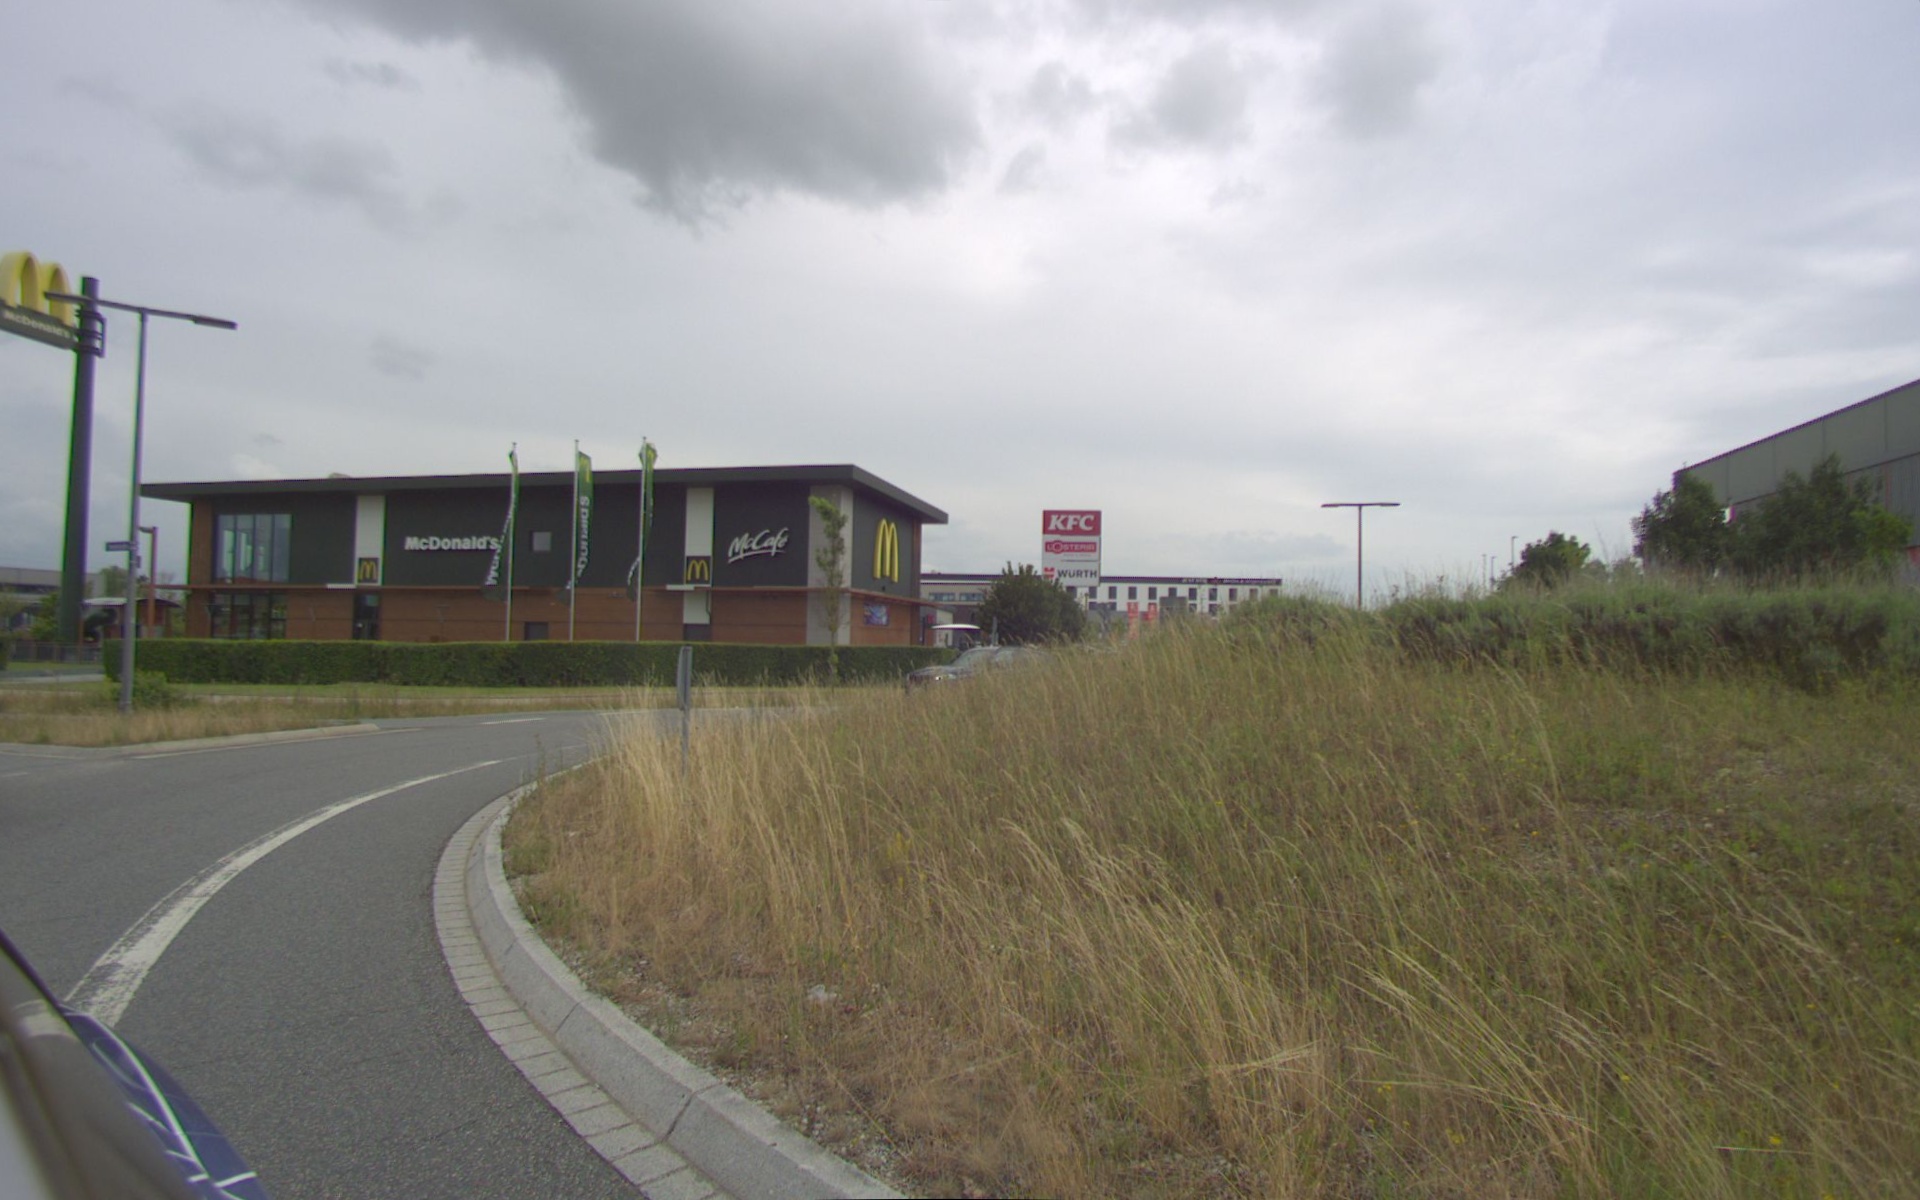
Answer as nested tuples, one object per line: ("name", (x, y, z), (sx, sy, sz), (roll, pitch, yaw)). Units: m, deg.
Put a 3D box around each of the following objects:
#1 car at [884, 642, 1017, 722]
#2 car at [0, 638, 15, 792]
("car", (-0.160, 2.066, 26.514), (1.835, 1.732, 3.962), (0, 0, 28))
("car", (-9.184, 1.043, 8.163), (1.877, 1.508, 4.347), (3, -4, -38))
